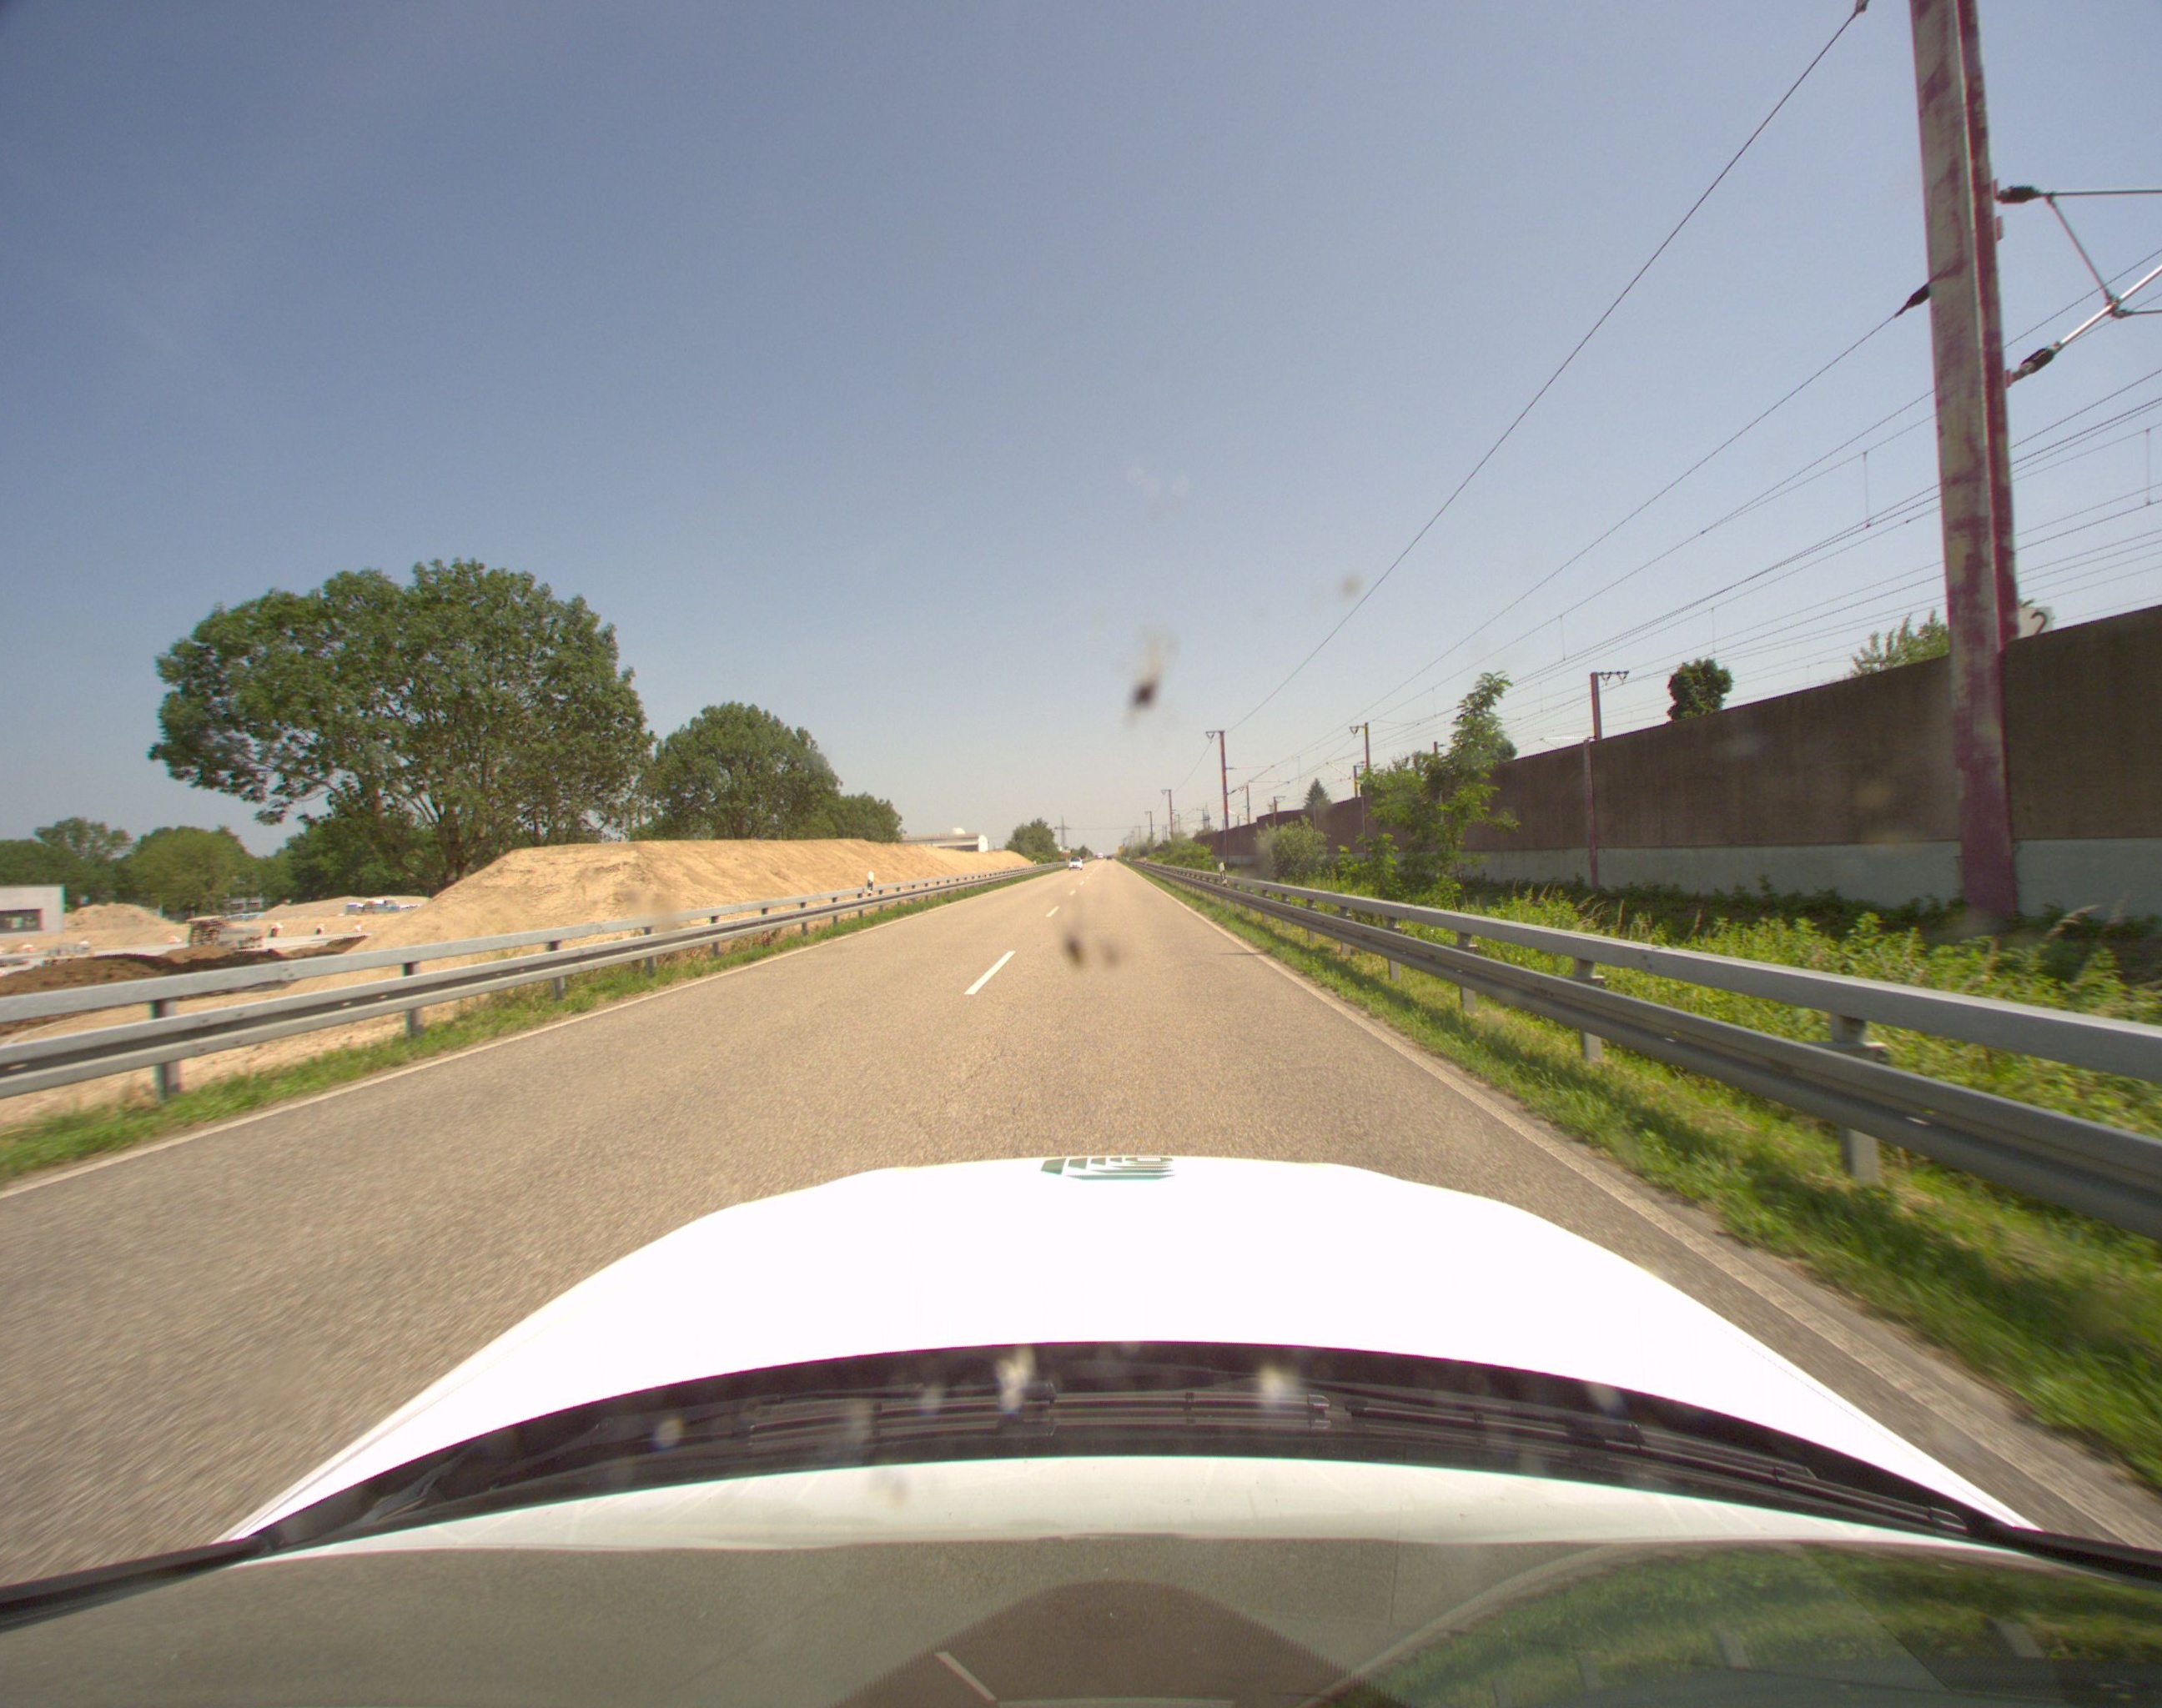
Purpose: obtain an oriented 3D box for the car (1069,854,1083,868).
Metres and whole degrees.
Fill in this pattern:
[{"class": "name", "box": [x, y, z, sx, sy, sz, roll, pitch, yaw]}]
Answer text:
[{"class": "car", "box": [-0.566, 0.807, 95.333, 1.589, 1.576, 3.829, -2, 0, 1]}]
